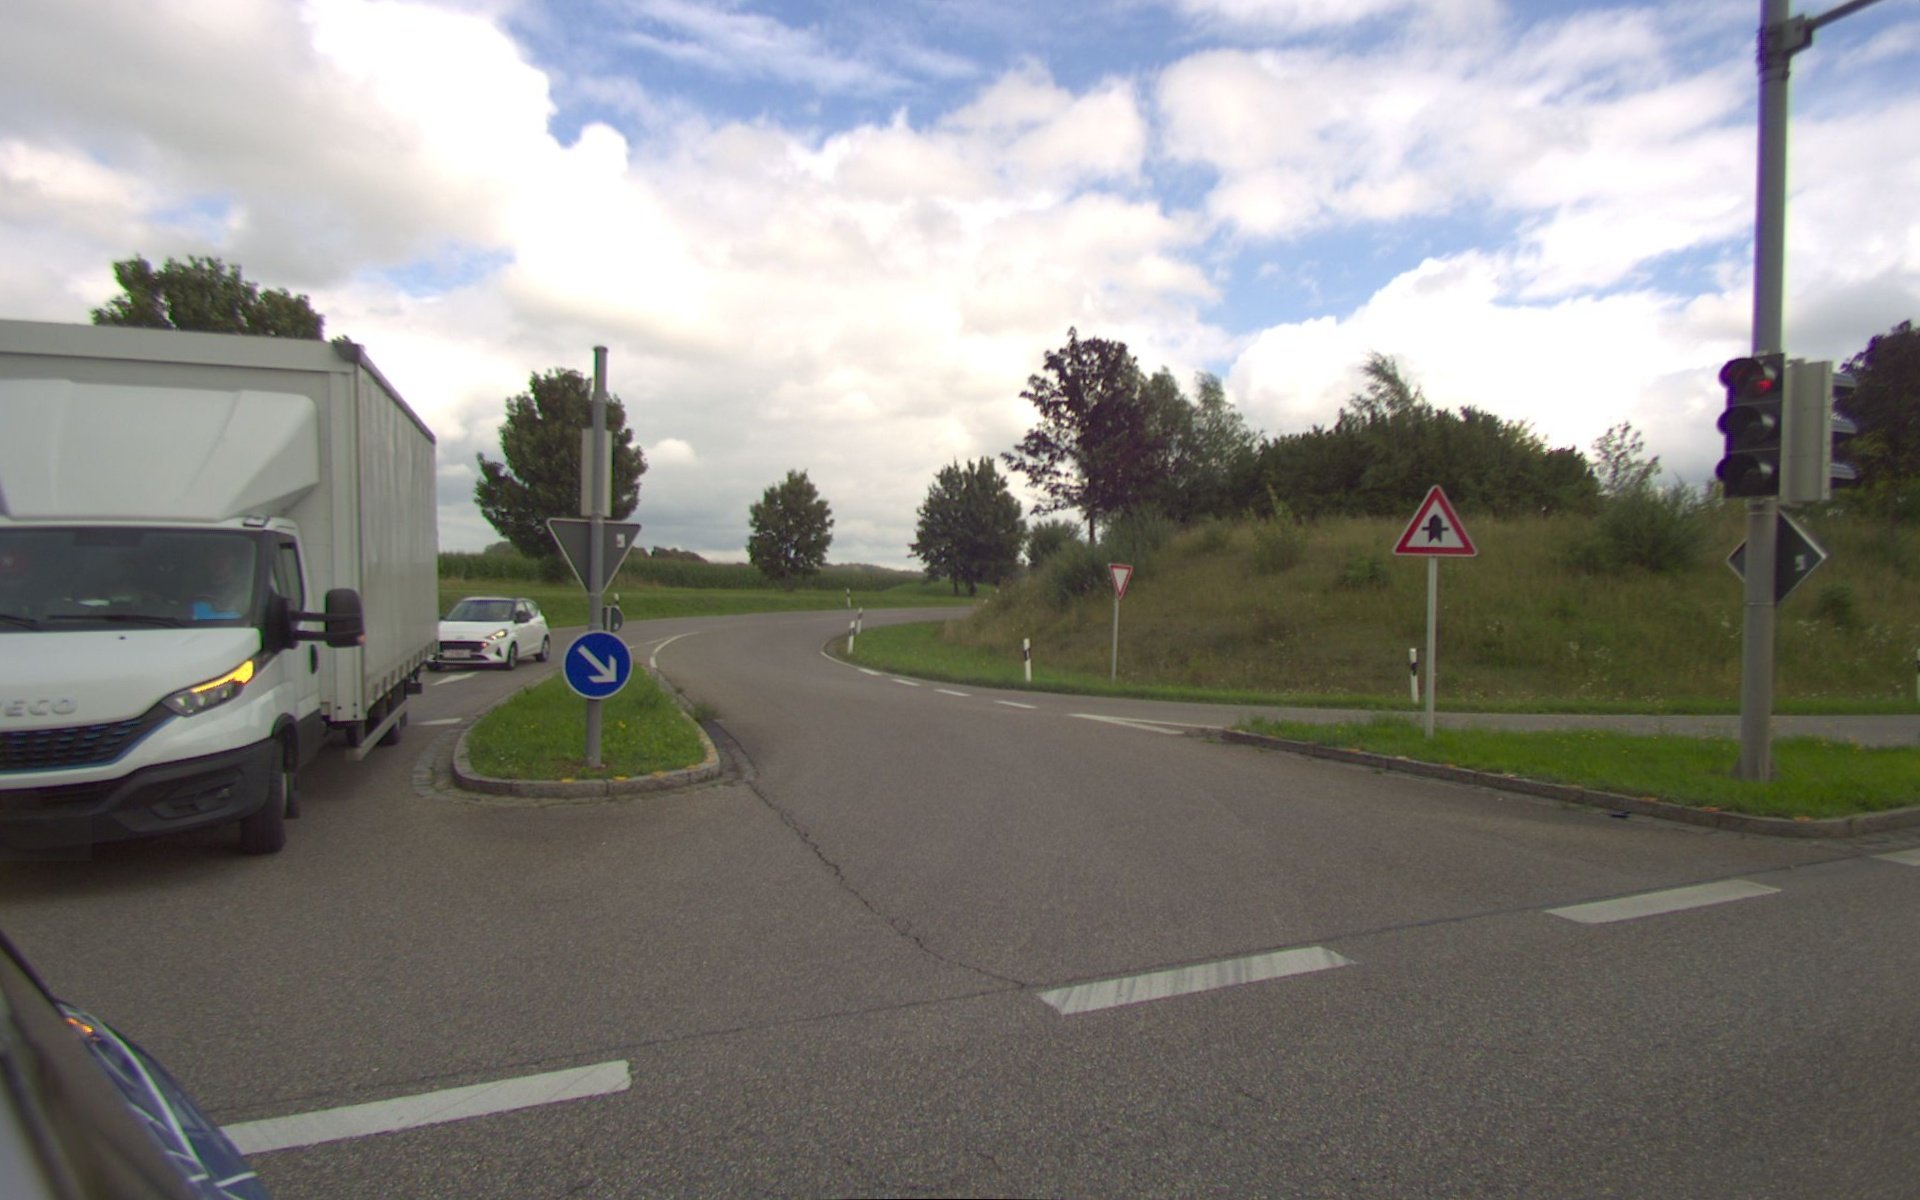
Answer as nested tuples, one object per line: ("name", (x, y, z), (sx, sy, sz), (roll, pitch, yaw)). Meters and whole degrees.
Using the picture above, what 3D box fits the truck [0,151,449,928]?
("truck", (-6.497, -0.305, 8.961), (2.790, 3.792, 8.829), (1, 0, -22))

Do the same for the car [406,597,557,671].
("car", (-10.210, 0.682, 21.916), (1.782, 1.463, 4.006), (0, 0, -7))
